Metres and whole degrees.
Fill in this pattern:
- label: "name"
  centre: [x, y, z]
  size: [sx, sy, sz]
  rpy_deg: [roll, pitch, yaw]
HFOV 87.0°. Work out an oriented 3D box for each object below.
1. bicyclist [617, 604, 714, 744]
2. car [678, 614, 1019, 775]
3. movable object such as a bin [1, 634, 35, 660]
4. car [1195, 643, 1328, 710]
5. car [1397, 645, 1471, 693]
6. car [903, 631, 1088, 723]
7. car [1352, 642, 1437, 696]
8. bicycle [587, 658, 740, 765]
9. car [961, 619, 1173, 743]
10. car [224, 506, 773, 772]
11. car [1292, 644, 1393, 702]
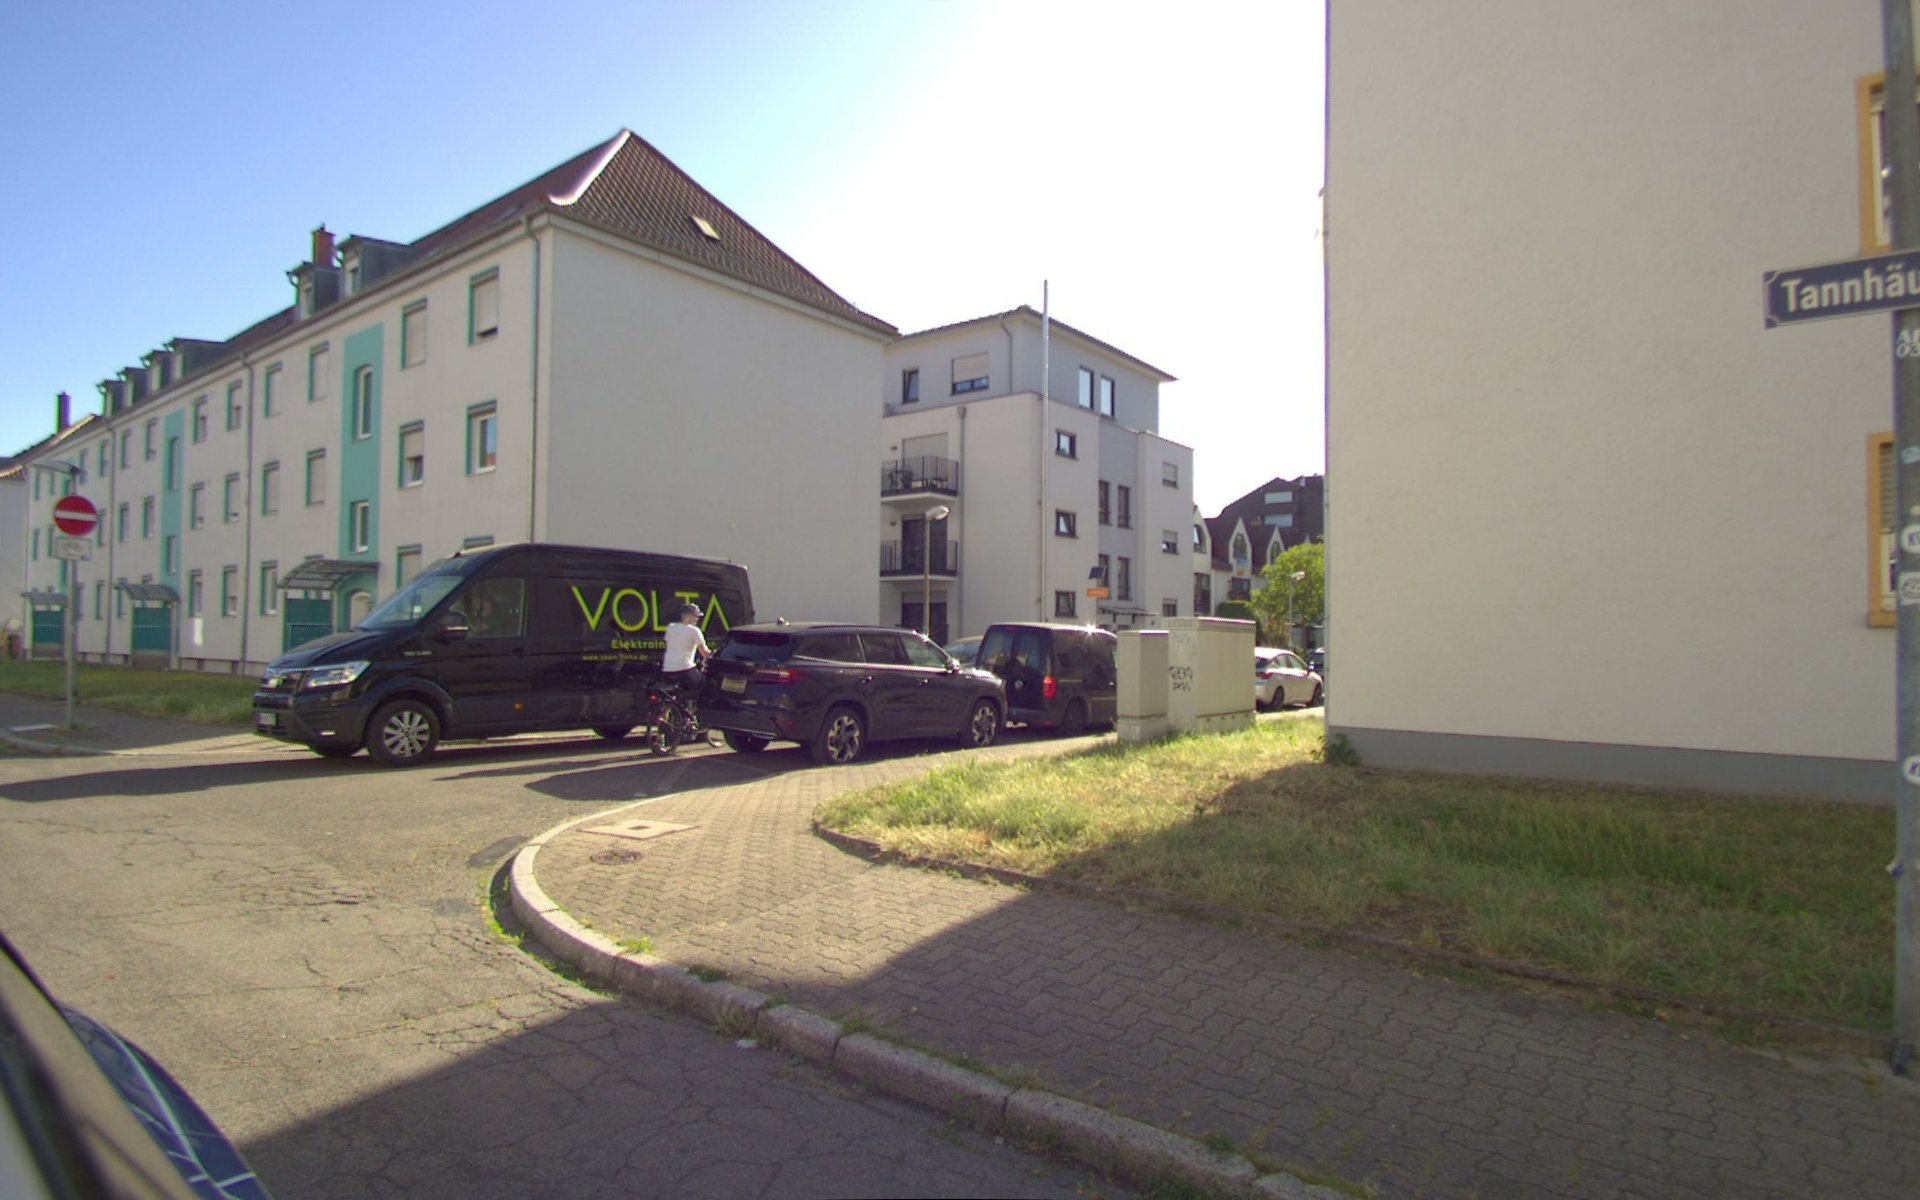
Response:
- label: "bicyclist"
  centre: [-3.511, 0.863, 12.095]
  size: [0.596, 1.591, 0.896]
  rpy_deg: [-1, -3, 34]
- label: "car"
  centre: [-1.223, 1.118, 13.012]
  size: [1.717, 1.676, 4.445]
  rpy_deg: [0, -3, 38]
- label: "movable object such as a bin"
  centre: [-50.316, 2.505, 54.040]
  size: [0.876, 1.404, 1.153]
  rpy_deg: [-2, -4, 38]
- label: "car"
  centre: [7.239, 1.820, 24.113]
  size: [1.784, 1.394, 3.520]
  rpy_deg: [1, -3, 40]
- label: "car"
  centre: [17.695, 2.574, 37.688]
  size: [1.782, 1.670, 3.522]
  rpy_deg: [-2, -5, 37]
- label: "car"
  centre: [0.822, 1.589, 20.961]
  size: [1.863, 1.708, 3.949]
  rpy_deg: [-2, -5, 38]
- label: "car"
  centre: [14.414, 2.283, 33.520]
  size: [1.782, 1.670, 3.522]
  rpy_deg: [-2, -5, 37]
- label: "bicycle"
  centre: [-3.499, 1.285, 12.102]
  size: [0.627, 1.123, 1.796]
  rpy_deg: [-1, -2, 32]
- label: "car"
  centre: [1.920, 1.311, 17.066]
  size: [1.717, 1.802, 3.953]
  rpy_deg: [0, -3, 38]
- label: "car"
  centre: [-5.312, 0.587, 12.663]
  size: [1.998, 2.564, 5.881]
  rpy_deg: [-2, -5, 39]
- label: "car"
  centre: [11.026, 2.093, 29.053]
  size: [1.782, 1.537, 3.522]
  rpy_deg: [-2, -5, 37]
